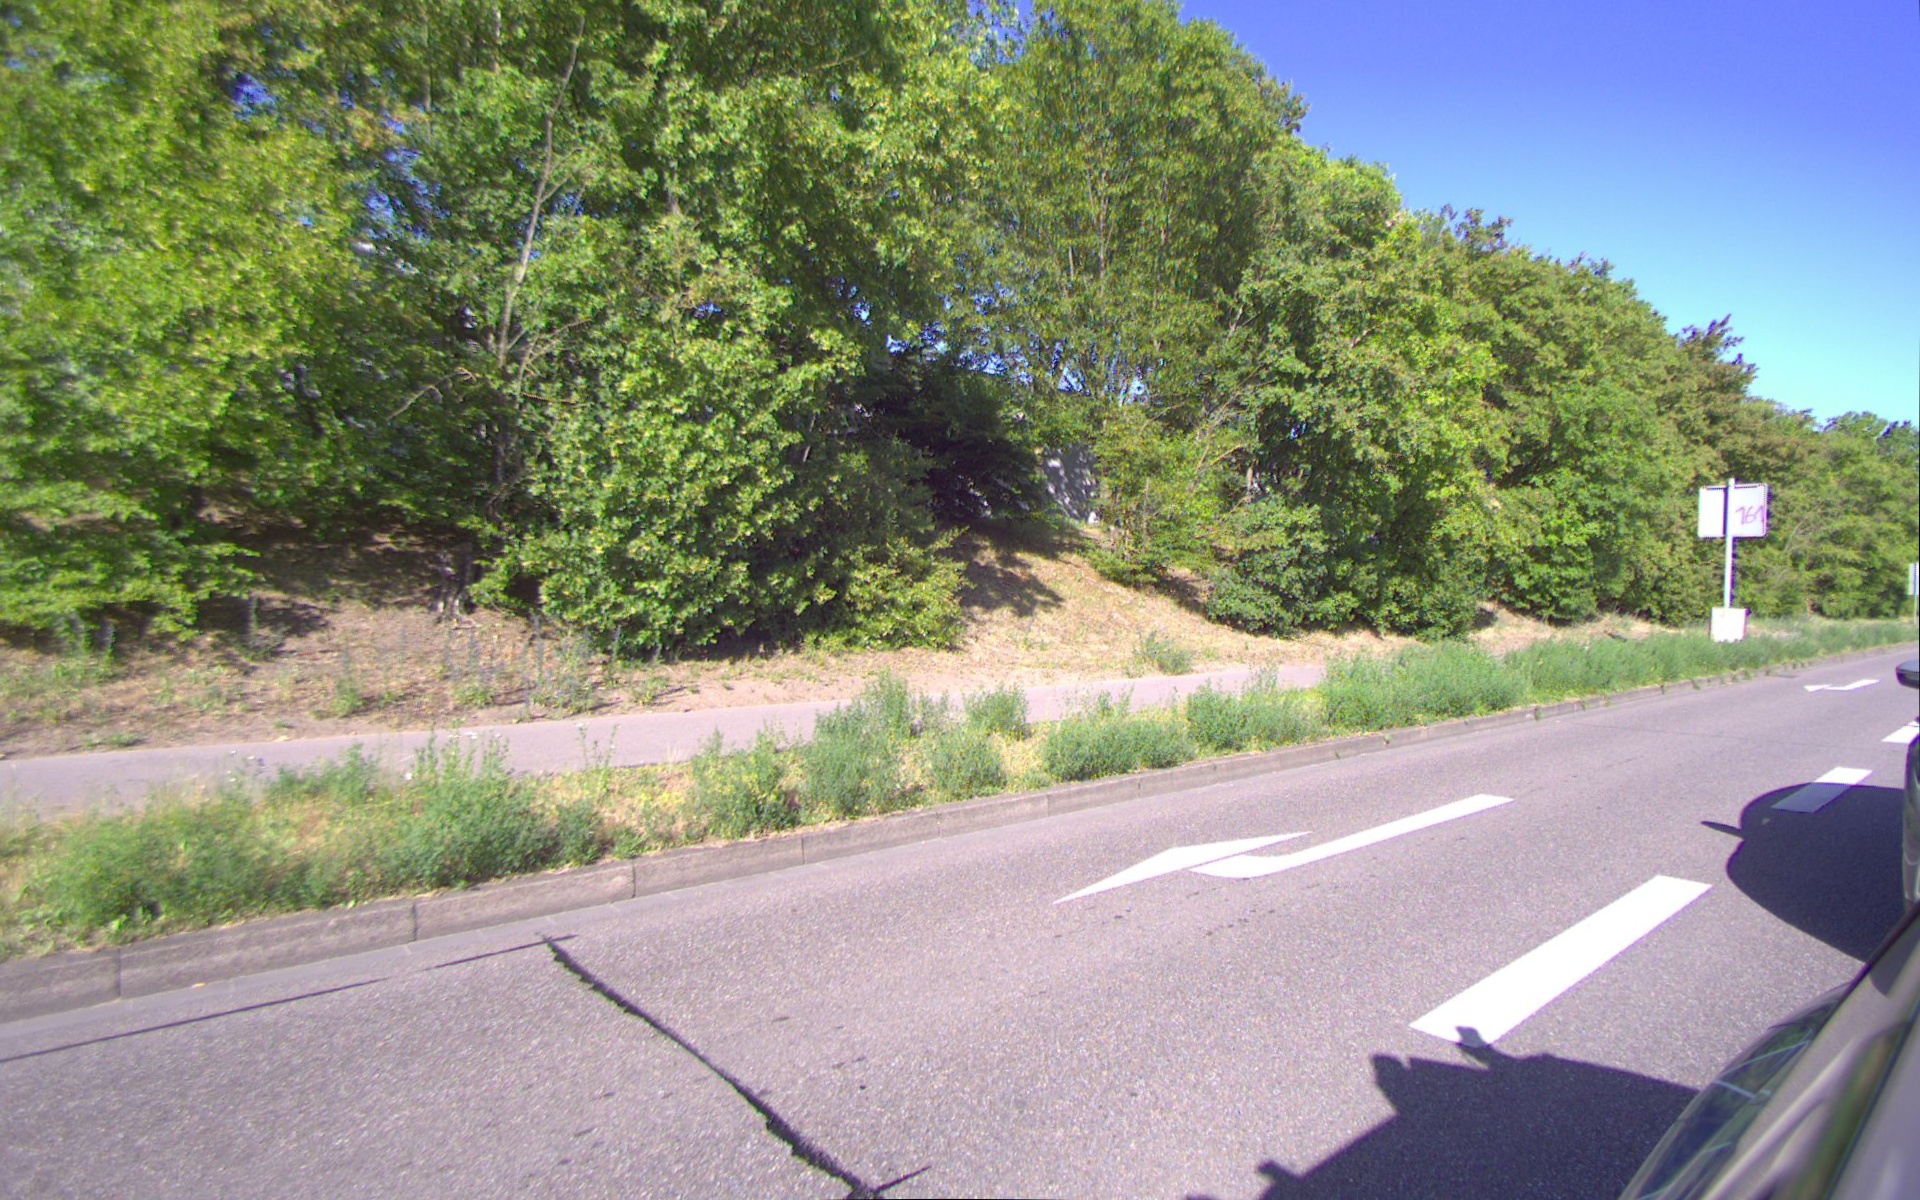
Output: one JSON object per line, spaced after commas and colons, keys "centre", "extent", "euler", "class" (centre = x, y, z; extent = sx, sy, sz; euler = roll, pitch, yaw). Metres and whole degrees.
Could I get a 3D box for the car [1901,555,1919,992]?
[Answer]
{"centre": [5.582, 0.656, 4.337], "extent": [3.863, 1.617, 1.869], "euler": [0, 0, -41], "class": "car"}
